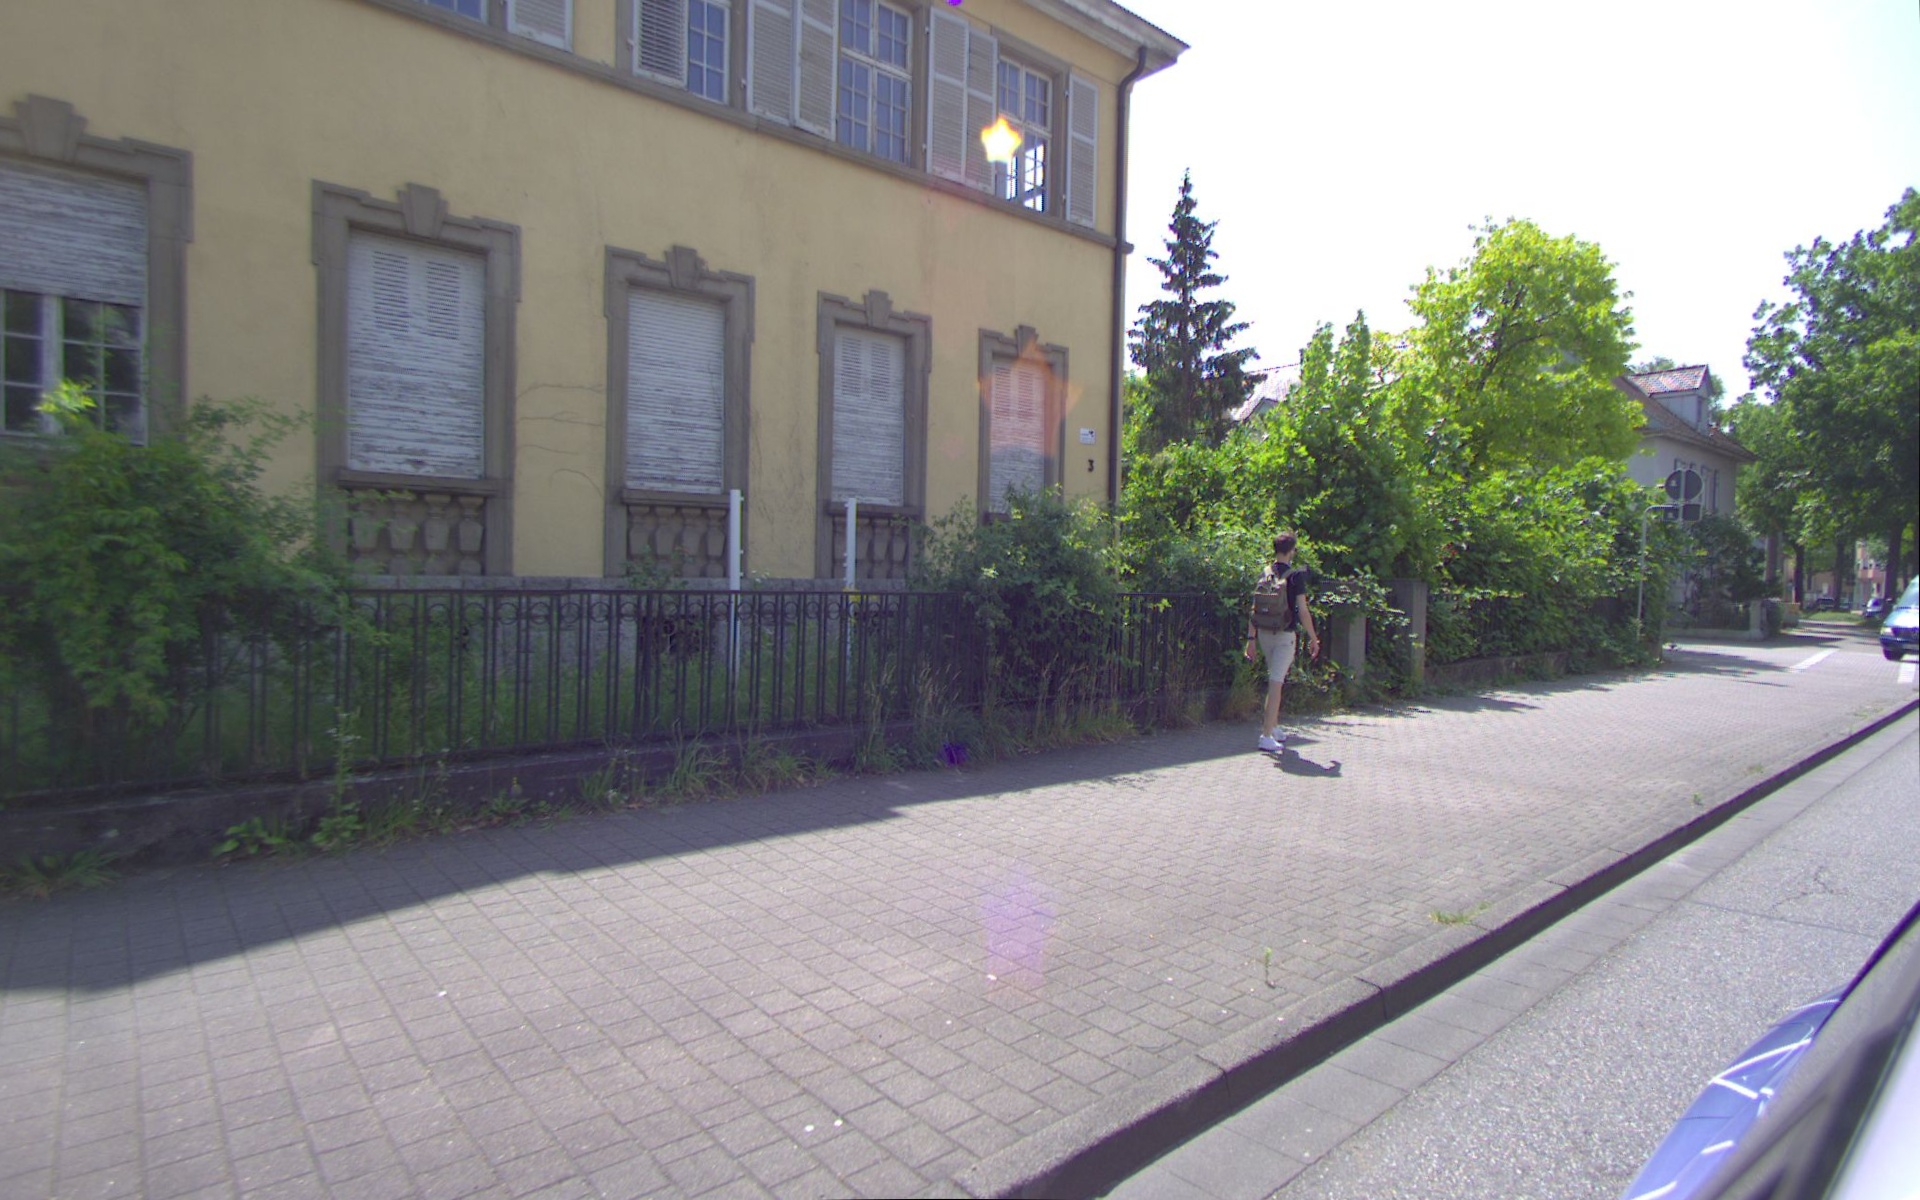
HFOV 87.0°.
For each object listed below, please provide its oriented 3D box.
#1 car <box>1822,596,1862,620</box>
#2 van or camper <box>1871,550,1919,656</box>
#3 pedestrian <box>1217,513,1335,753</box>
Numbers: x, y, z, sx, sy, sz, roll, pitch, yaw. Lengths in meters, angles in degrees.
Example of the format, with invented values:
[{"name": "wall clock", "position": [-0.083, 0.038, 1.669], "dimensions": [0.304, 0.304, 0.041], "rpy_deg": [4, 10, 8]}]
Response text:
[{"name": "car", "position": [65.163, 0.535, 74.830], "dimensions": [1.817, 1.705, 3.948], "rpy_deg": [0, 0, 36]}, {"name": "van or camper", "position": [26.412, 0.116, 25.985], "dimensions": [5.723, 2.614, 2.170], "rpy_deg": [1, 1, -22]}, {"name": "pedestrian", "position": [2.698, 0.253, 8.648], "dimensions": [0.731, 1.942, 0.620], "rpy_deg": [0, 2, -41]}]
